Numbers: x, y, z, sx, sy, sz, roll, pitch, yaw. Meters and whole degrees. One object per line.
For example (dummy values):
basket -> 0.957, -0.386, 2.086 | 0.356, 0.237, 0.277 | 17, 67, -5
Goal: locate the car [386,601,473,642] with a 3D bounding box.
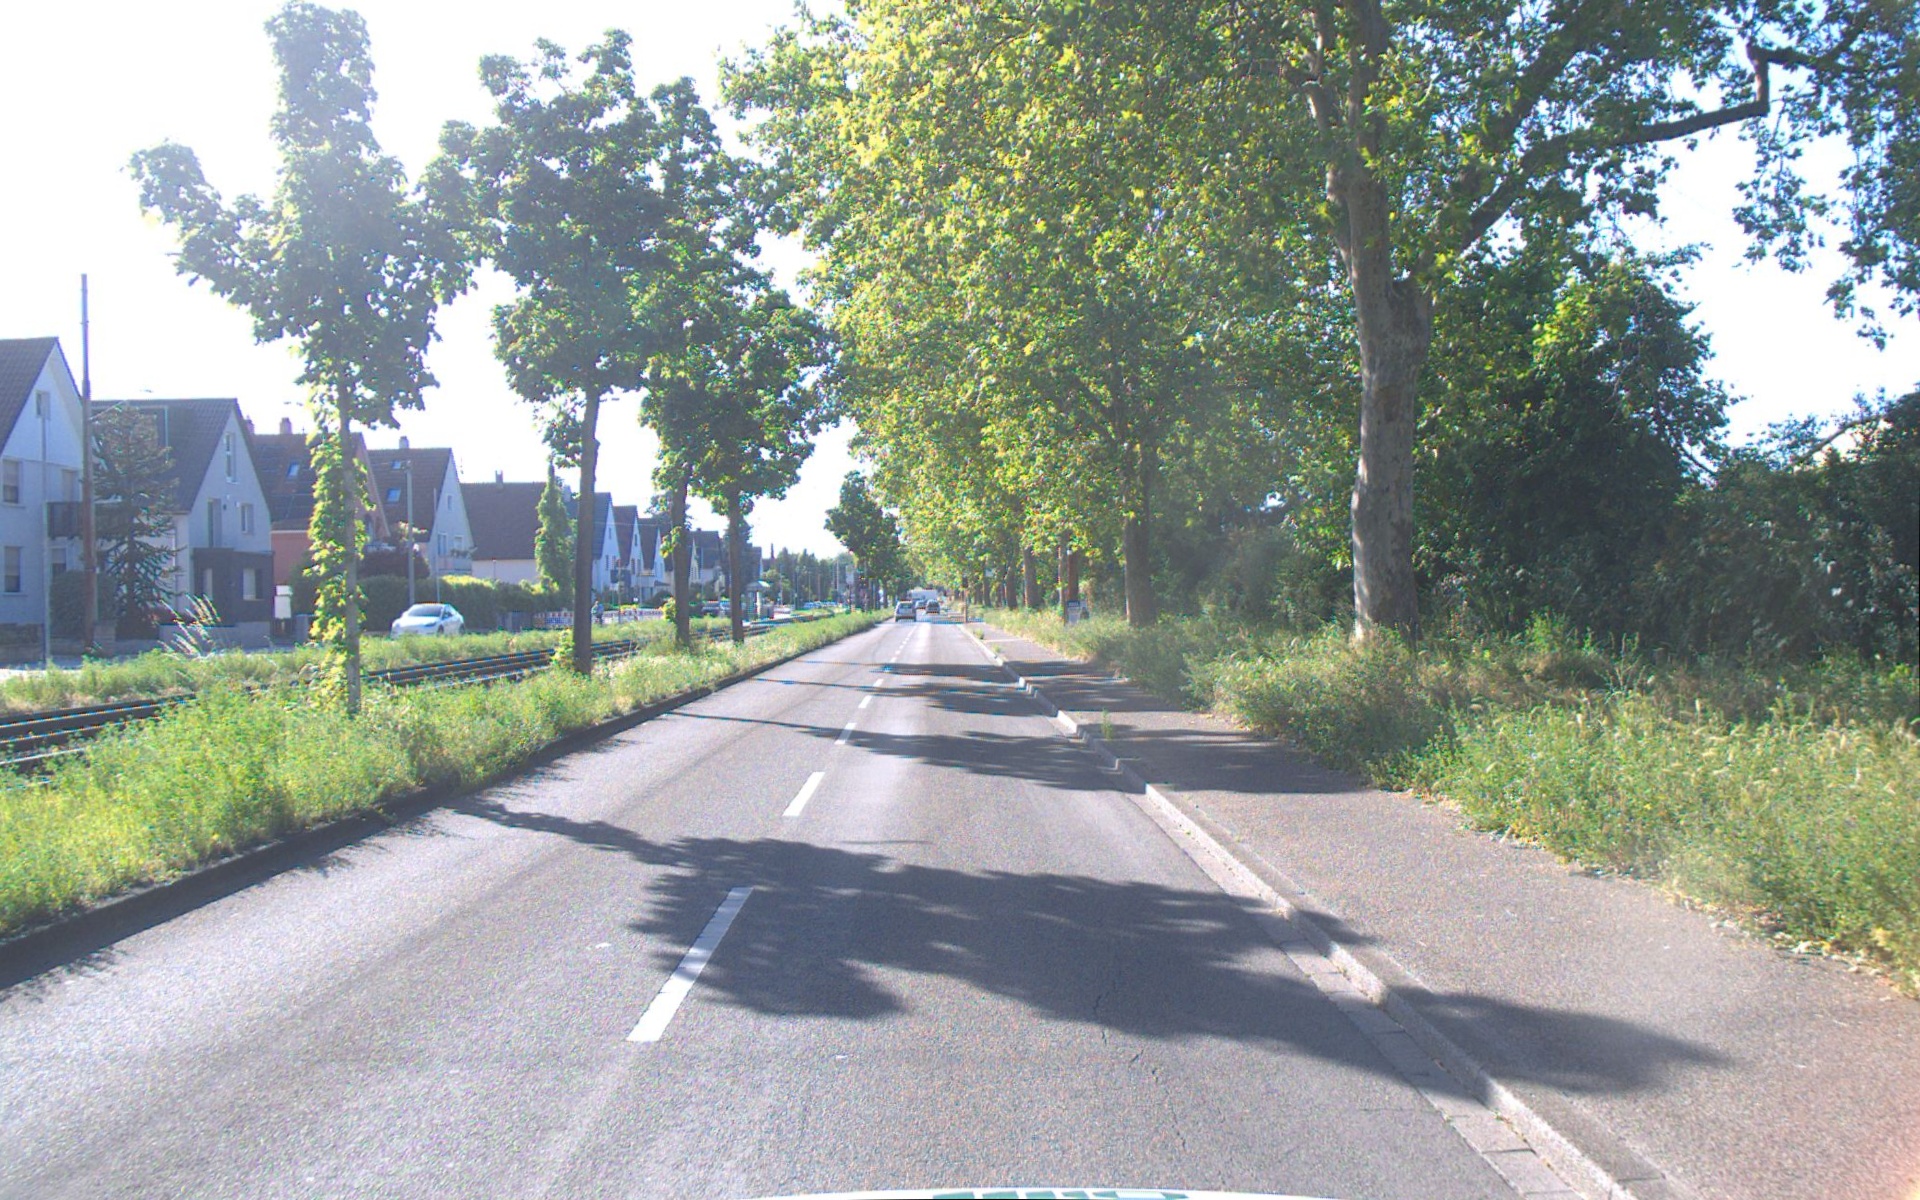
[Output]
car -> -22.317, 0.903, 69.749 | 1.952, 1.627, 4.732 | 0, -1, 2

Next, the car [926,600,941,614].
car -> -3.079, 0.851, 192.368 | 1.725, 1.539, 3.276 | 0, -1, 0

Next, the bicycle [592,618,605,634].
bicycle -> -20.182, 1.449, 92.417 | 0.432, 0.917, 2.059 | 0, -1, -5

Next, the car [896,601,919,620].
car -> -3.919, 0.806, 124.301 | 1.703, 1.425, 3.276 | 0, -1, -1

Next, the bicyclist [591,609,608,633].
bicyclist -> -20.158, 1.180, 92.500 | 0.783, 1.300, 0.736 | 0, -1, -6

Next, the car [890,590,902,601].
car -> -9.420, -0.644, 243.647 | 1.496, 1.480, 3.286 | 0, -1, 0
